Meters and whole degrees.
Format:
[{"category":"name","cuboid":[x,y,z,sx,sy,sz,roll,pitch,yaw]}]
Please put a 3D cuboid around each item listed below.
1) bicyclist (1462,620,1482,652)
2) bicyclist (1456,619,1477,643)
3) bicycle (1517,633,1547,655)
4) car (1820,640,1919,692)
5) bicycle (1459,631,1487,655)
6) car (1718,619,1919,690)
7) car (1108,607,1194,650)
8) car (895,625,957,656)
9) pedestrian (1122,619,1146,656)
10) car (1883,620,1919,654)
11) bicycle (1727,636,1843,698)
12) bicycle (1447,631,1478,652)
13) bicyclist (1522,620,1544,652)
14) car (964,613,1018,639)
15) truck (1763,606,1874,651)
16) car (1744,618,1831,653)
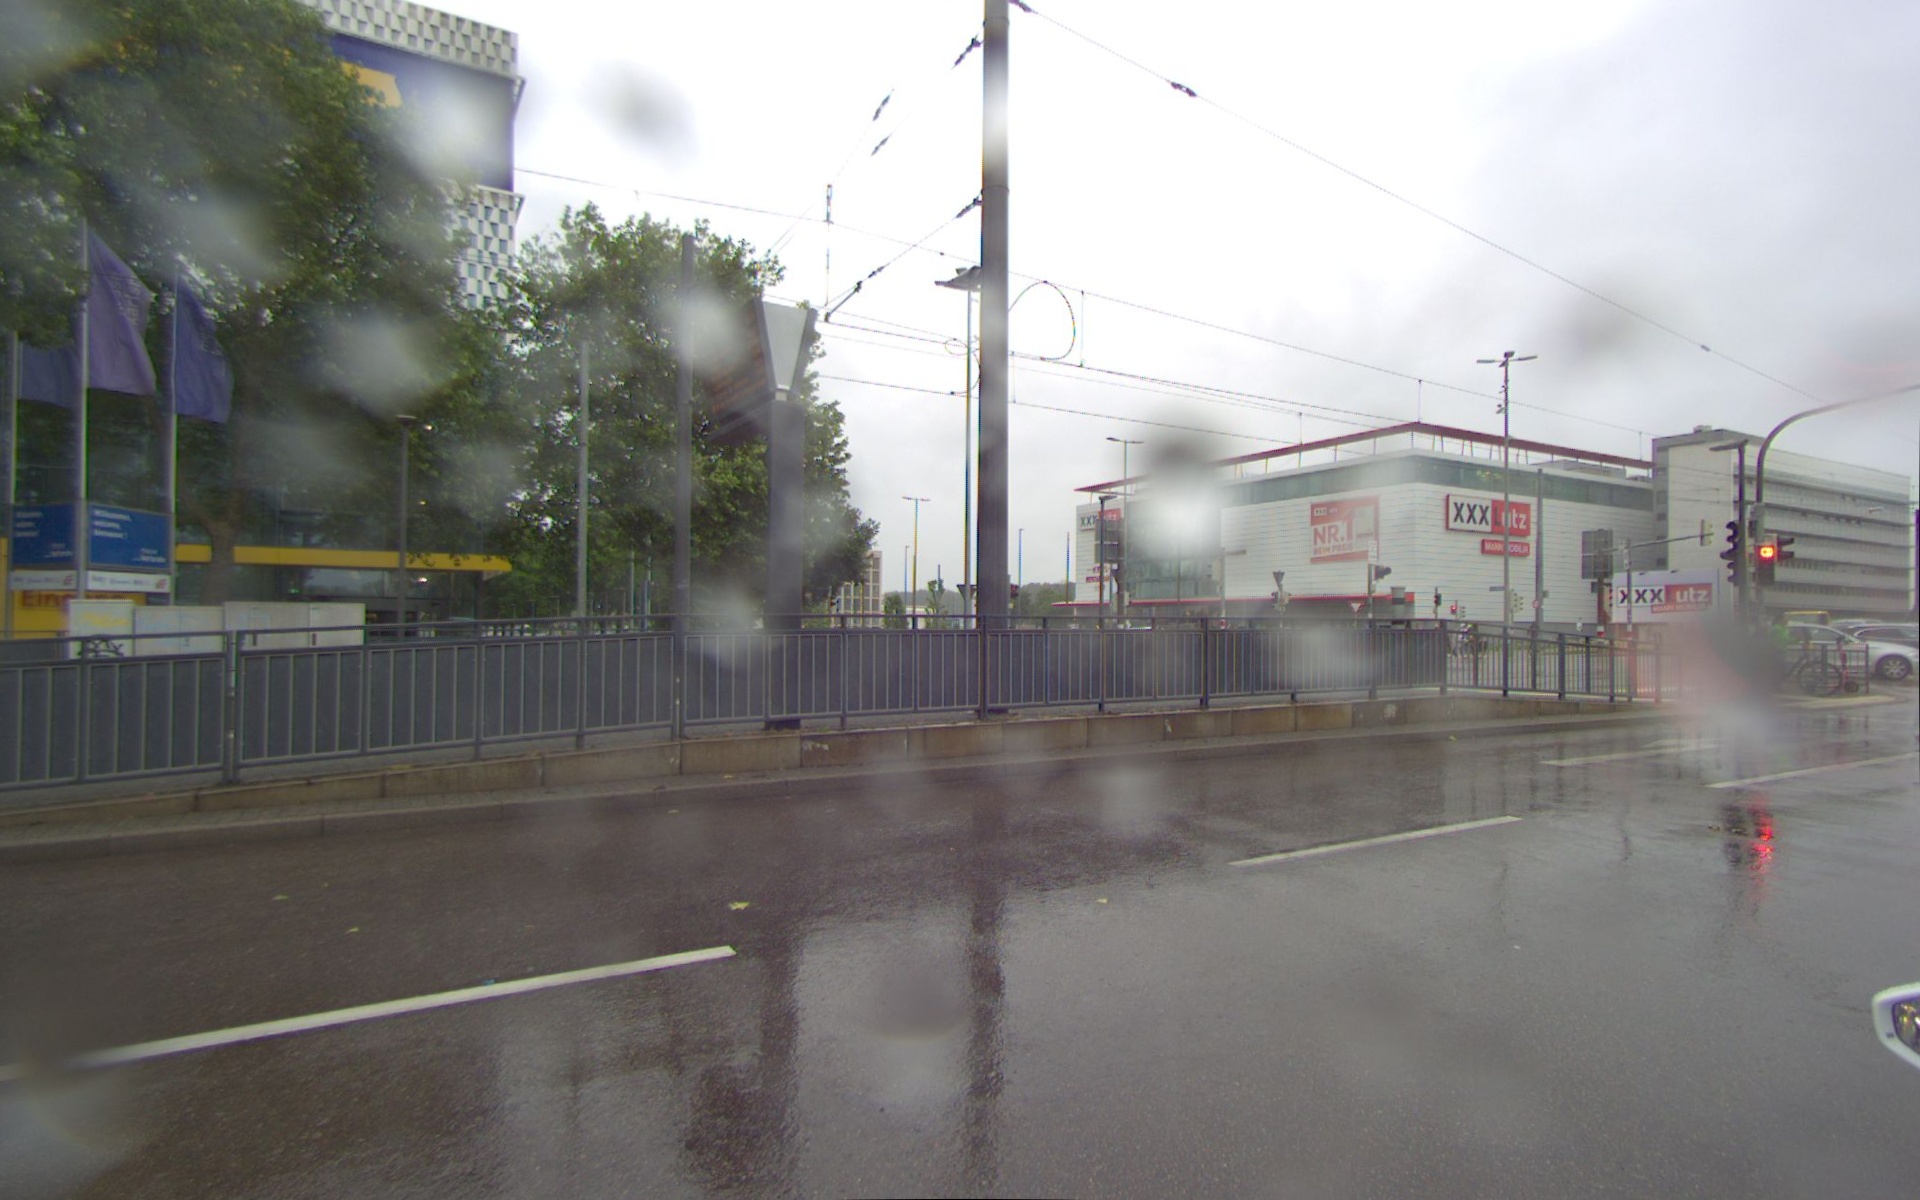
[{"category":"bicyclist","cuboid":[23.667,1.663,46.407,0.643,1.418,0.529,2,0,-33]},{"category":"bicyclist","cuboid":[24.880,1.532,49.344,0.639,1.149,0.681,2,0,-29]},{"category":"bicycle","cuboid":[27.669,2.130,48.545,1.688,1.000,0.448,2,0,-30]},{"category":"car","cuboid":[29.100,2.043,31.029,1.827,1.429,3.695,2,0,-43]},{"category":"bicycle","cuboid":[23.699,1.993,46.385,1.493,1.075,0.408,2,0,-33]},{"category":"car","cuboid":[23.276,1.436,27.372,4.009,1.682,1.616,2,0,32]},{"category":"car","cuboid":[9.611,1.413,50.840,1.976,2.040,4.295,2,0,-29]},{"category":"car","cuboid":[-2.274,2.603,65.407,1.982,1.656,4.173,1,2,-37]},{"category":"pedestrian","cuboid":[7.525,1.618,43.410,0.863,1.557,0.560,2,0,-31]},{"category":"car","cuboid":[51.439,1.977,53.642,3.947,1.722,1.886,2,0,-26]},{"category":"bicycle","cuboid":[16.720,1.332,20.404,0.409,1.048,1.742,2,3,-31]},{"category":"bicycle","cuboid":[24.605,2.031,49.185,1.688,1.000,0.448,2,0,-30]},{"category":"bicyclist","cuboid":[27.729,1.741,48.597,0.639,1.483,0.681,2,0,-29]},{"category":"car","cuboid":[2.169,1.823,70.210,3.723,1.645,2.001,2,0,2]},{"category":"truck","cuboid":[48.490,1.627,56.696,7.542,2.309,2.341,2,0,-30]},{"category":"car","cuboid":[39.134,1.682,47.508,3.823,1.512,1.693,2,0,-25]}]
